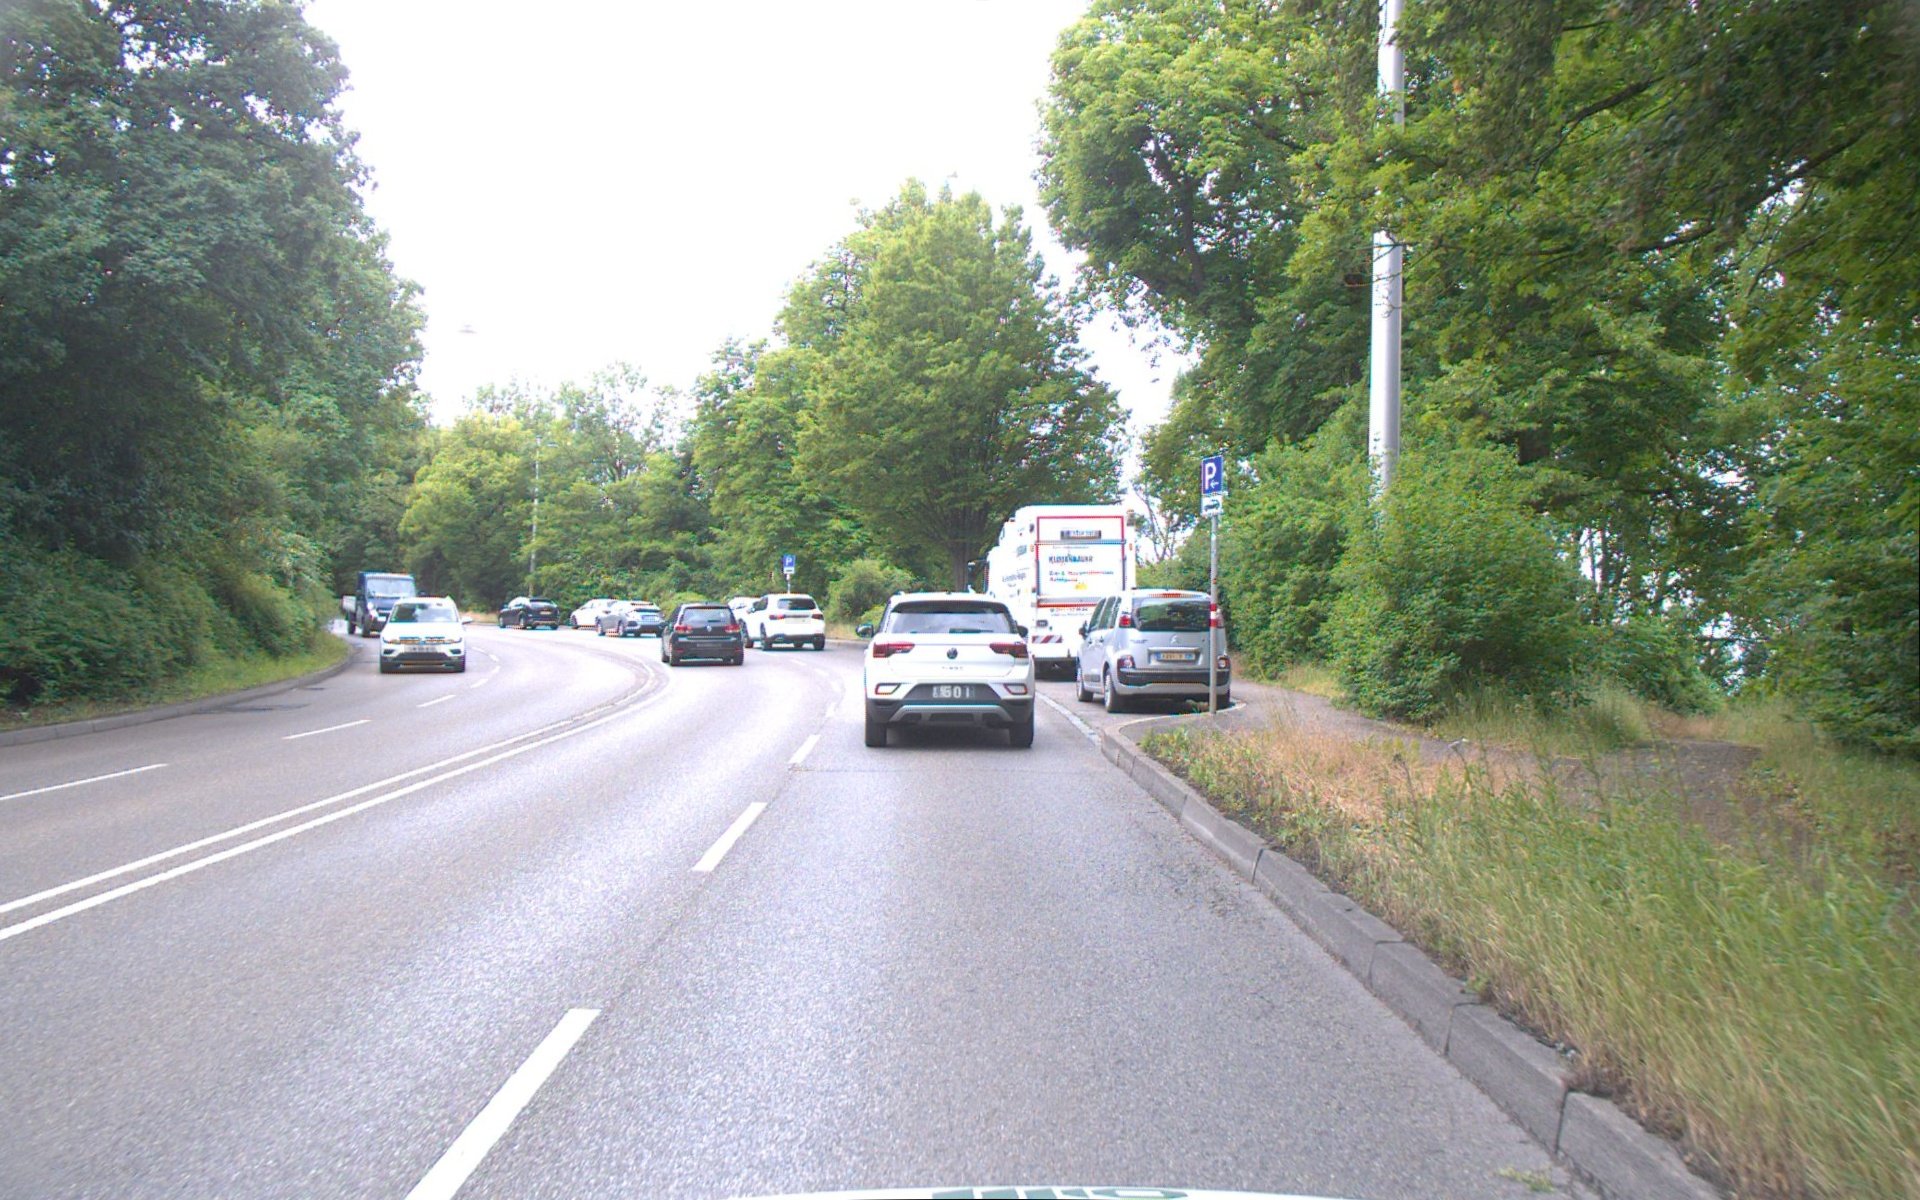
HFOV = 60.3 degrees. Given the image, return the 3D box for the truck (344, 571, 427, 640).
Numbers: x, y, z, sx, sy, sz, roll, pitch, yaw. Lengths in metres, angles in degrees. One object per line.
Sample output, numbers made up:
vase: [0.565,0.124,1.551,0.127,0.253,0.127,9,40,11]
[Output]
truck: [-21.414,0.175,61.490,2.134,2.412,6.621,0,0,-26]

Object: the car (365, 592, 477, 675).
car: [-12.439,0.761,38.014,1.833,1.724,4.398,-2,0,-26]

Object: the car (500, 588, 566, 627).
car: [-19.997,0.346,77.423,1.750,1.635,3.954,4,-1,-33]

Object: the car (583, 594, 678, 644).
car: [-13.226,0.751,66.275,1.982,1.747,3.942,4,-1,-40]

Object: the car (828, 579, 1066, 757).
car: [-0.272,0.674,18.008,1.964,1.624,3.992,3,-1,-9]

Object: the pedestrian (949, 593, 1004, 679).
pedestrian: [0.383,0.849,39.441,0.900,1.862,0.984,12,-1,-1]

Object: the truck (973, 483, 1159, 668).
truck: [1.952,-0.420,33.420,2.434,3.237,7.218,2,-1,-6]

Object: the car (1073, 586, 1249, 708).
car: [2.748,0.625,23.458,1.767,1.551,3.997,-1,0,-4]

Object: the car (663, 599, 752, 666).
car: [-6.060,0.766,40.014,1.912,1.492,3.994,-2,-1,-6]

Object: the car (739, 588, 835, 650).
car: [-5.241,0.529,49.685,1.826,1.732,3.973,-1,1,-22]

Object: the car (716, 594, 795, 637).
car: [-8.221,0.605,66.151,1.738,1.681,4.340,0,0,-28]
